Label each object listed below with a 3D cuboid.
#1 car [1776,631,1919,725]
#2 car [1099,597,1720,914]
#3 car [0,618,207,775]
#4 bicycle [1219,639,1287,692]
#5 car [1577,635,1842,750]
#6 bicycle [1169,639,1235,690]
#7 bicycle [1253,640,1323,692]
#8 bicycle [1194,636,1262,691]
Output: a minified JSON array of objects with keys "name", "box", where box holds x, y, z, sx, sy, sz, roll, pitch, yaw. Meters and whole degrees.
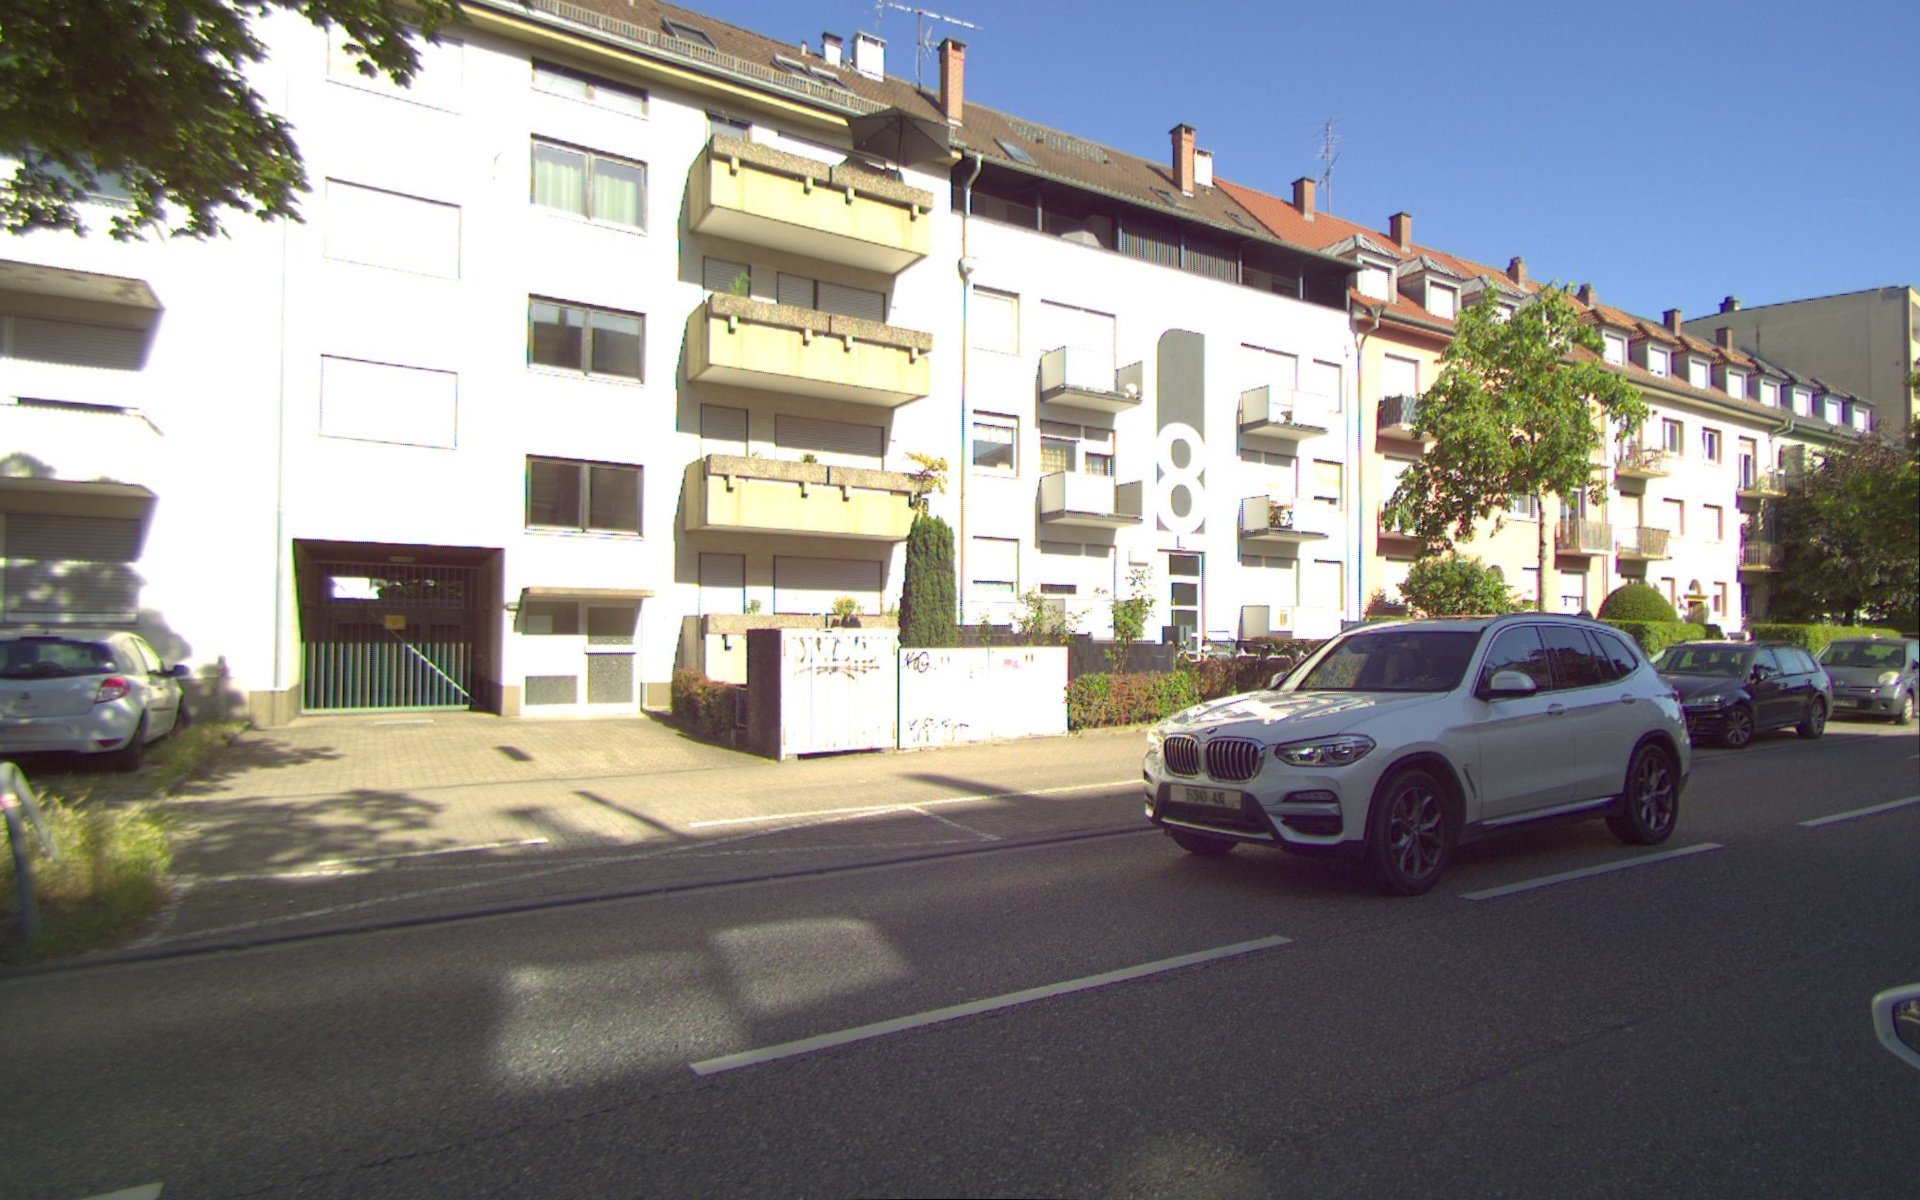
[{"name":"car","box":[17.110,1.386,18.967,3.621,1.546,1.665,1,0,-34]},{"name":"car","box":[3.392,0.919,7.302,4.620,1.669,1.798,1,-4,-32]},{"name":"car","box":[-10.149,0.973,11.610,1.859,1.506,3.967,1,-1,-30]},{"name":"bicycle","box":[6.055,1.338,20.726,1.530,1.067,0.418,1,-2,-31]},{"name":"car","box":[11.595,1.308,15.466,4.443,1.513,1.776,1,-2,-32]},{"name":"bicycle","box":[5.332,1.405,22.113,1.530,1.077,0.446,1,-2,-31]},{"name":"bicycle","box":[6.493,1.292,19.888,1.530,0.995,0.397,1,-2,-31]},{"name":"bicycle","box":[5.728,1.348,21.420,1.530,1.126,0.446,1,-2,-31]}]
